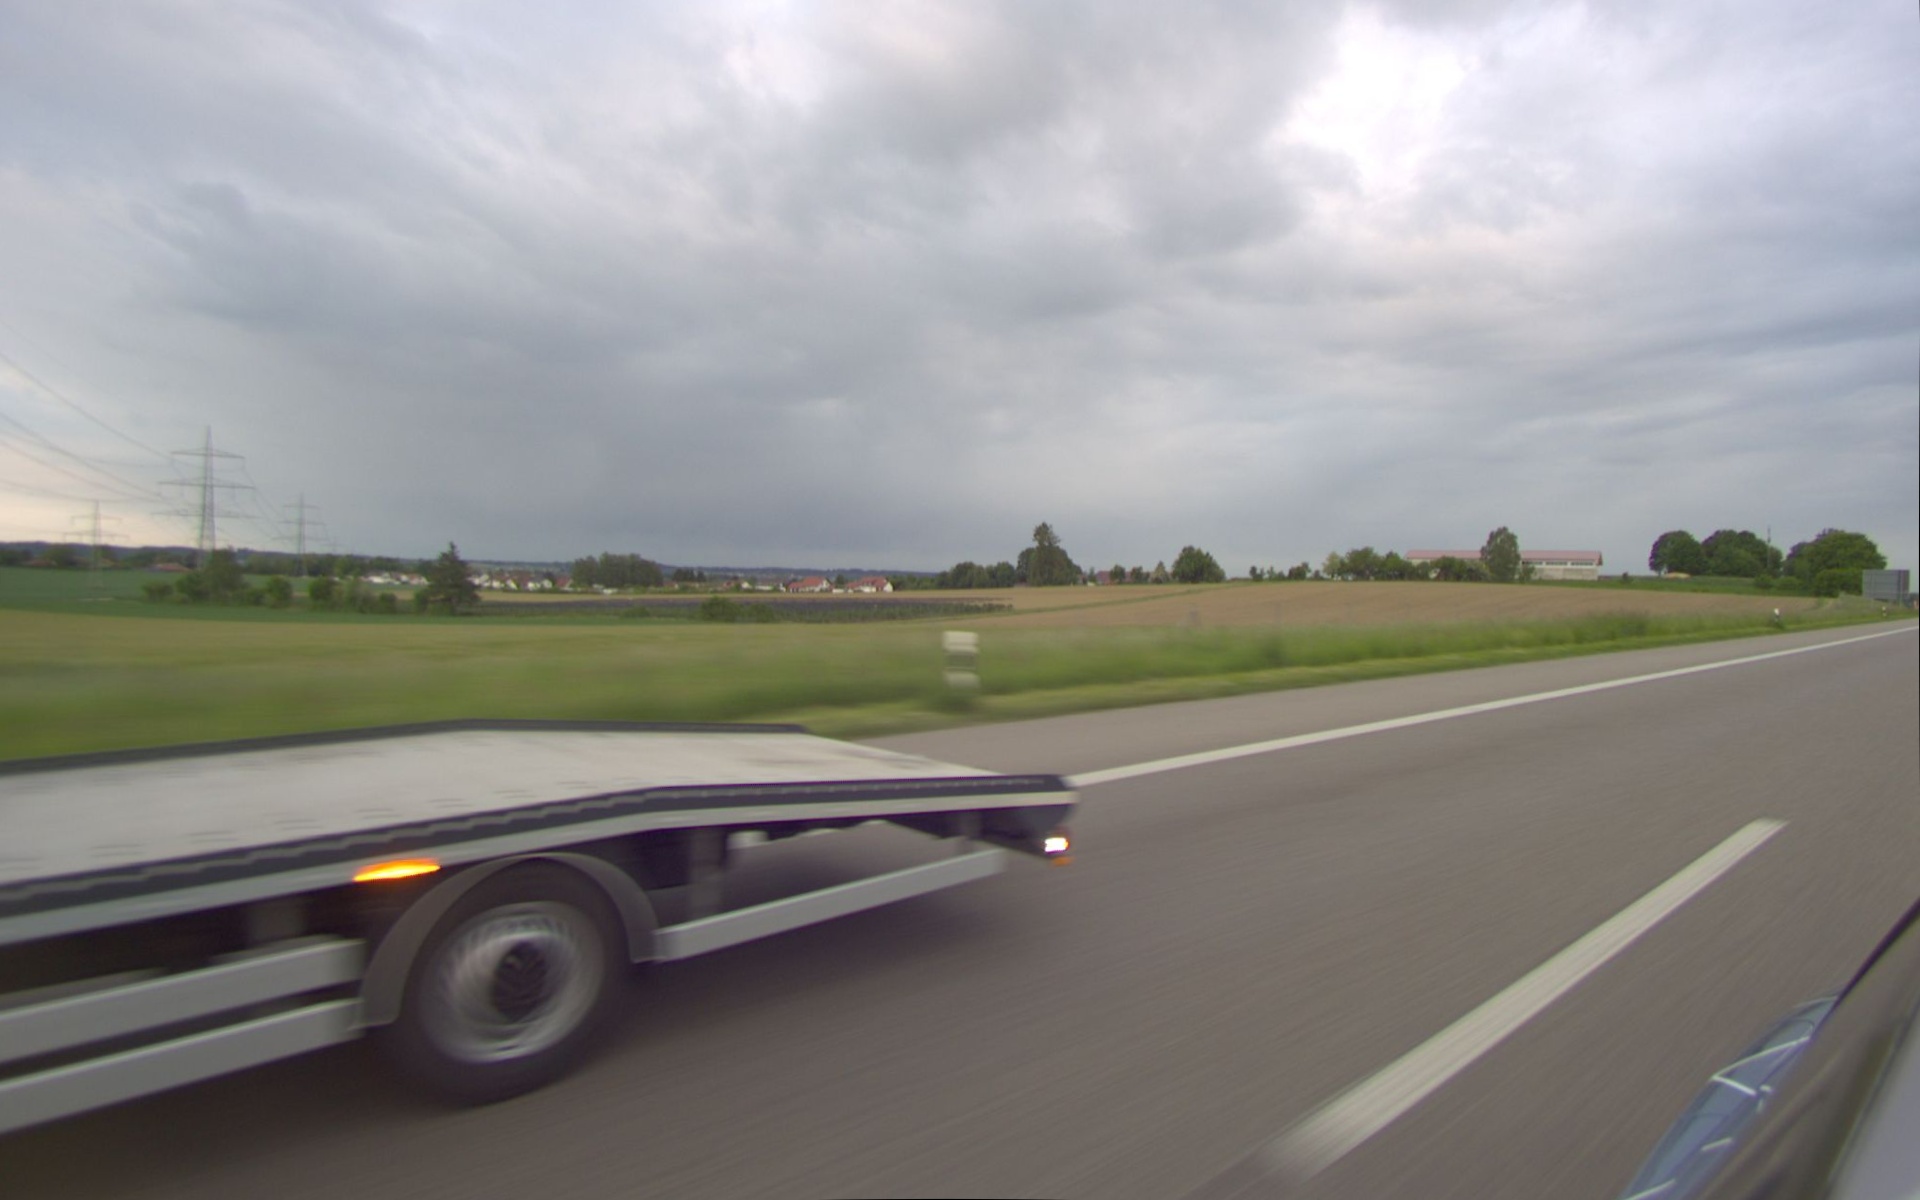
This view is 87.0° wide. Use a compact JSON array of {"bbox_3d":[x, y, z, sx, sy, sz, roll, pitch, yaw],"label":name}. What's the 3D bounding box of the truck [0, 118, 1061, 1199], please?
[{"bbox_3d":[-3.125,0.187,2.581,7.562,2.390,2.175,0,0,-41],"label":"truck"}]
